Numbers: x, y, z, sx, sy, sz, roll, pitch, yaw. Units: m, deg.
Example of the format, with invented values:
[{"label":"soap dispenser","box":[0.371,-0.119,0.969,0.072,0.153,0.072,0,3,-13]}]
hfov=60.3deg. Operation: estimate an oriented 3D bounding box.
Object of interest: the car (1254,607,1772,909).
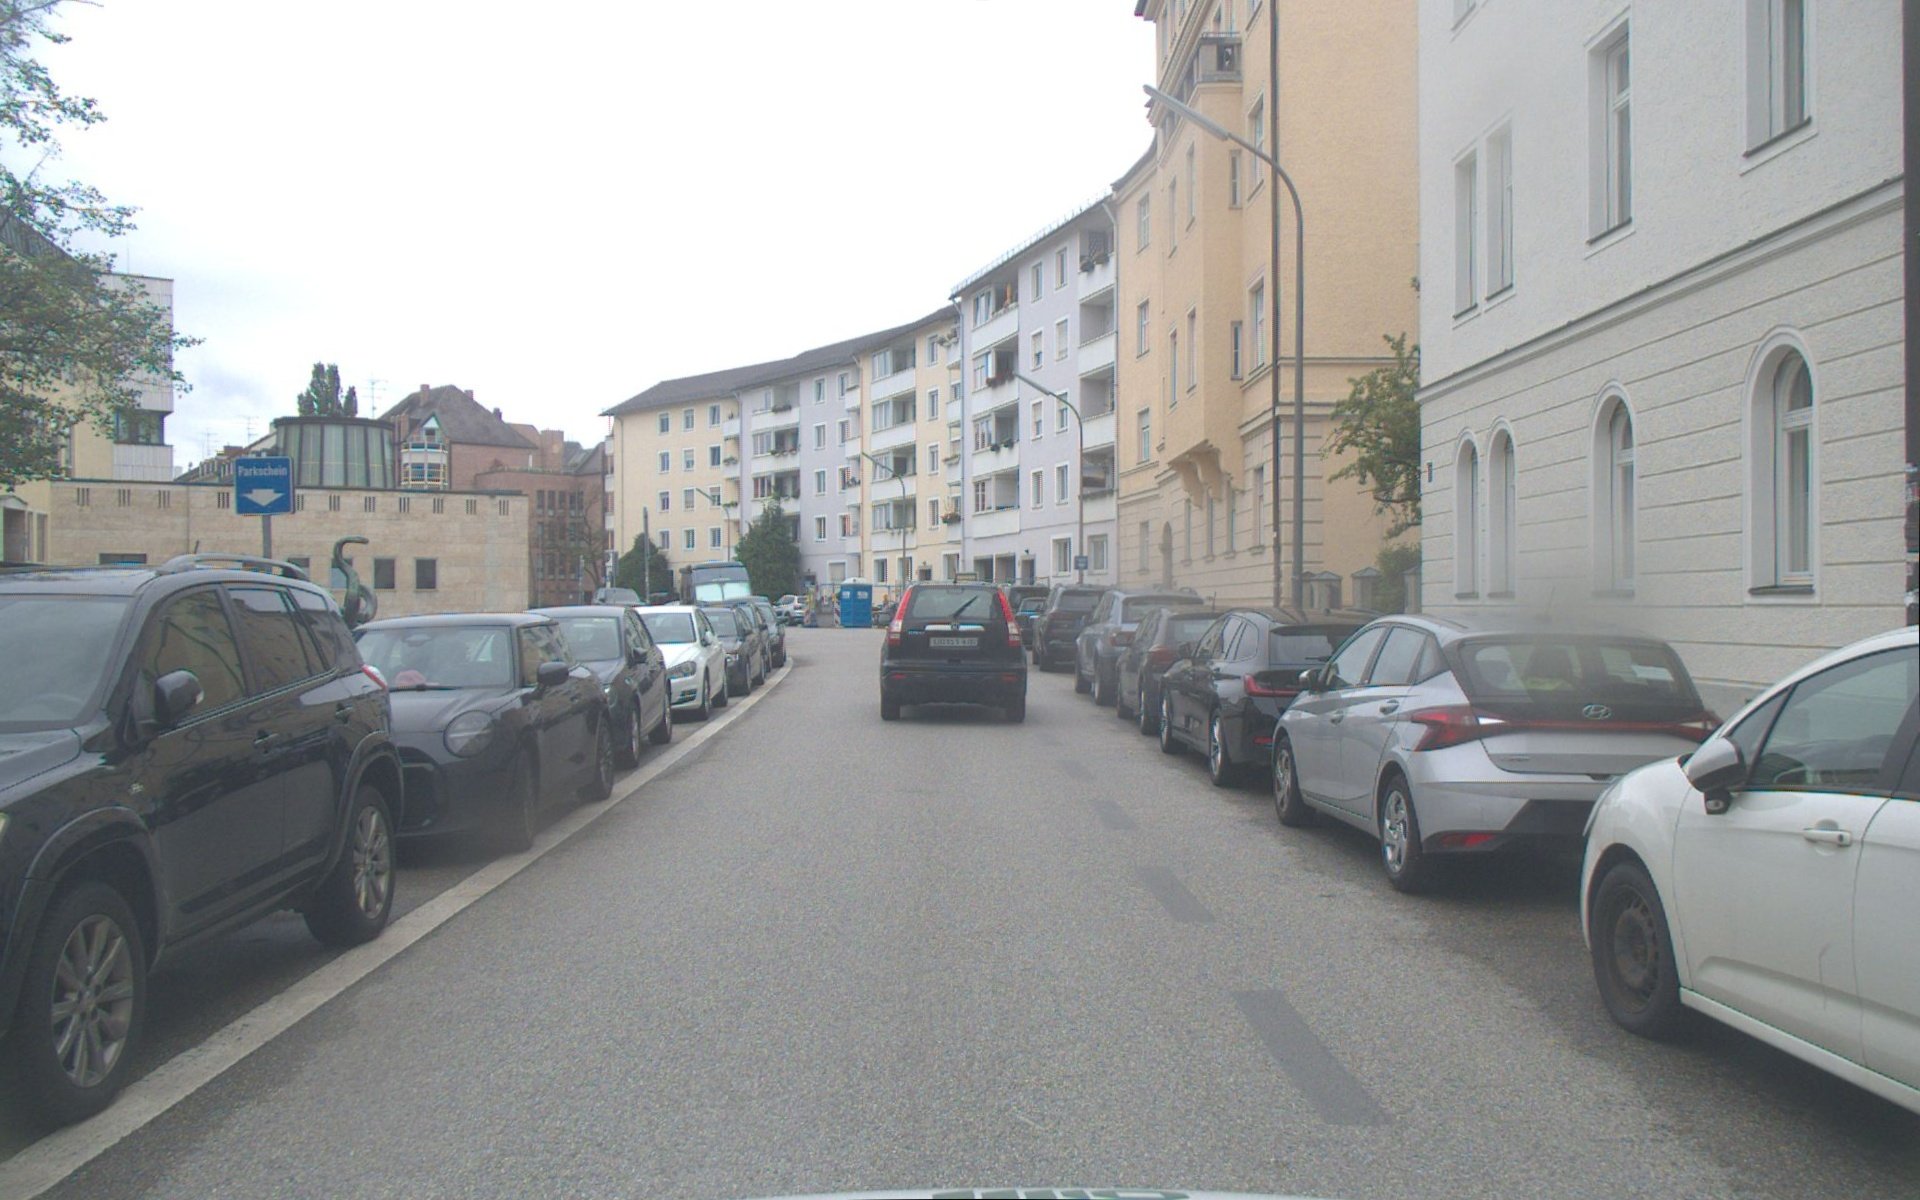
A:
[{"label":"car","box":[3.073,0.774,10.147,1.645,1.452,4.165,0,0,-2]}]

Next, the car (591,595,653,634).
[{"label":"car","box":[-15.422,0.643,75.272,1.659,1.737,4.472,0,0,-27]}]

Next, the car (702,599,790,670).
[{"label":"car","box":[-4.761,0.731,37.205,1.764,1.430,4.450,-2,0,-5]}]

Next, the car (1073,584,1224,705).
[{"label":"car","box":[2.759,0.617,25.111,1.687,1.663,4.456,0,0,-1]}]

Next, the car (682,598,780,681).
[{"label":"car","box":[-4.438,0.727,32.382,1.624,1.479,3.309,-2,0,-4]}]

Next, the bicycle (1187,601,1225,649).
[{"label":"bicycle","box":[5.931,0.586,39.937,0.567,1.102,1.953,-3,0,-1]}]

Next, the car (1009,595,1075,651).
[{"label":"car","box":[2.289,0.628,47.004,1.673,1.472,3.829,1,0,0]}]

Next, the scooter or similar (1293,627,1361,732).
[{"label":"scooter or similar","box":[4.294,0.909,19.401,0.475,1.184,1.171,1,-1,-3]}]

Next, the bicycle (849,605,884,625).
[{"label":"bicycle","box":[-5.178,0.818,91.518,1.840,1.110,0.561,0,0,-23]}]

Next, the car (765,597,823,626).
[{"label":"car","box":[-8.902,0.595,88.539,1.705,1.509,3.962,1,0,-28]}]

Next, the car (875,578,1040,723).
[{"label":"car","box":[-0.130,0.590,21.211,1.854,1.676,3.988,0,0,-4]}]

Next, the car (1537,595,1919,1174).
[{"label":"car","box":[3.299,0.740,4.810,1.645,1.507,4.165,0,0,-2]}]

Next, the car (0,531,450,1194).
[{"label":"car","box":[-3.393,0.717,6.018,1.709,1.695,4.447,-3,0,-2]}]

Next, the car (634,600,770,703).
[{"label":"car","box":[-4.169,0.782,27.328,1.720,1.479,4.393,-2,0,-3]}]

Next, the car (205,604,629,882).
[{"label":"car","box":[-3.431,0.804,11.215,1.646,1.479,3.868,-2,0,-2]}]

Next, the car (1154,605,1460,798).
[{"label":"car","box":[2.888,0.776,14.724,1.645,1.452,4.389,0,0,-2]}]

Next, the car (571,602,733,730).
[{"label":"car","box":[-4.027,0.803,22.172,1.624,1.479,4.070,-2,0,-4]}]

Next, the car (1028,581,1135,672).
[{"label":"car","box":[2.498,0.532,35.138,1.831,1.747,4.864,1,0,-1]}]

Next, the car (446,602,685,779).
[{"label":"car","box":[-3.781,0.793,16.462,1.624,1.479,3.971,-2,0,-4]}]

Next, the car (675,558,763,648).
[{"label":"car","box":[-7.848,0.085,53.392,2.128,2.688,5.994,-1,0,-15]}]

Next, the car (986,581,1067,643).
[{"label":"car","box":[2.047,0.366,52.244,1.745,1.838,4.267,1,0,-9]}]

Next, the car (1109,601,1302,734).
[{"label":"car","box":[2.859,0.739,20.066,1.645,1.452,4.086,0,0,-1]}]
